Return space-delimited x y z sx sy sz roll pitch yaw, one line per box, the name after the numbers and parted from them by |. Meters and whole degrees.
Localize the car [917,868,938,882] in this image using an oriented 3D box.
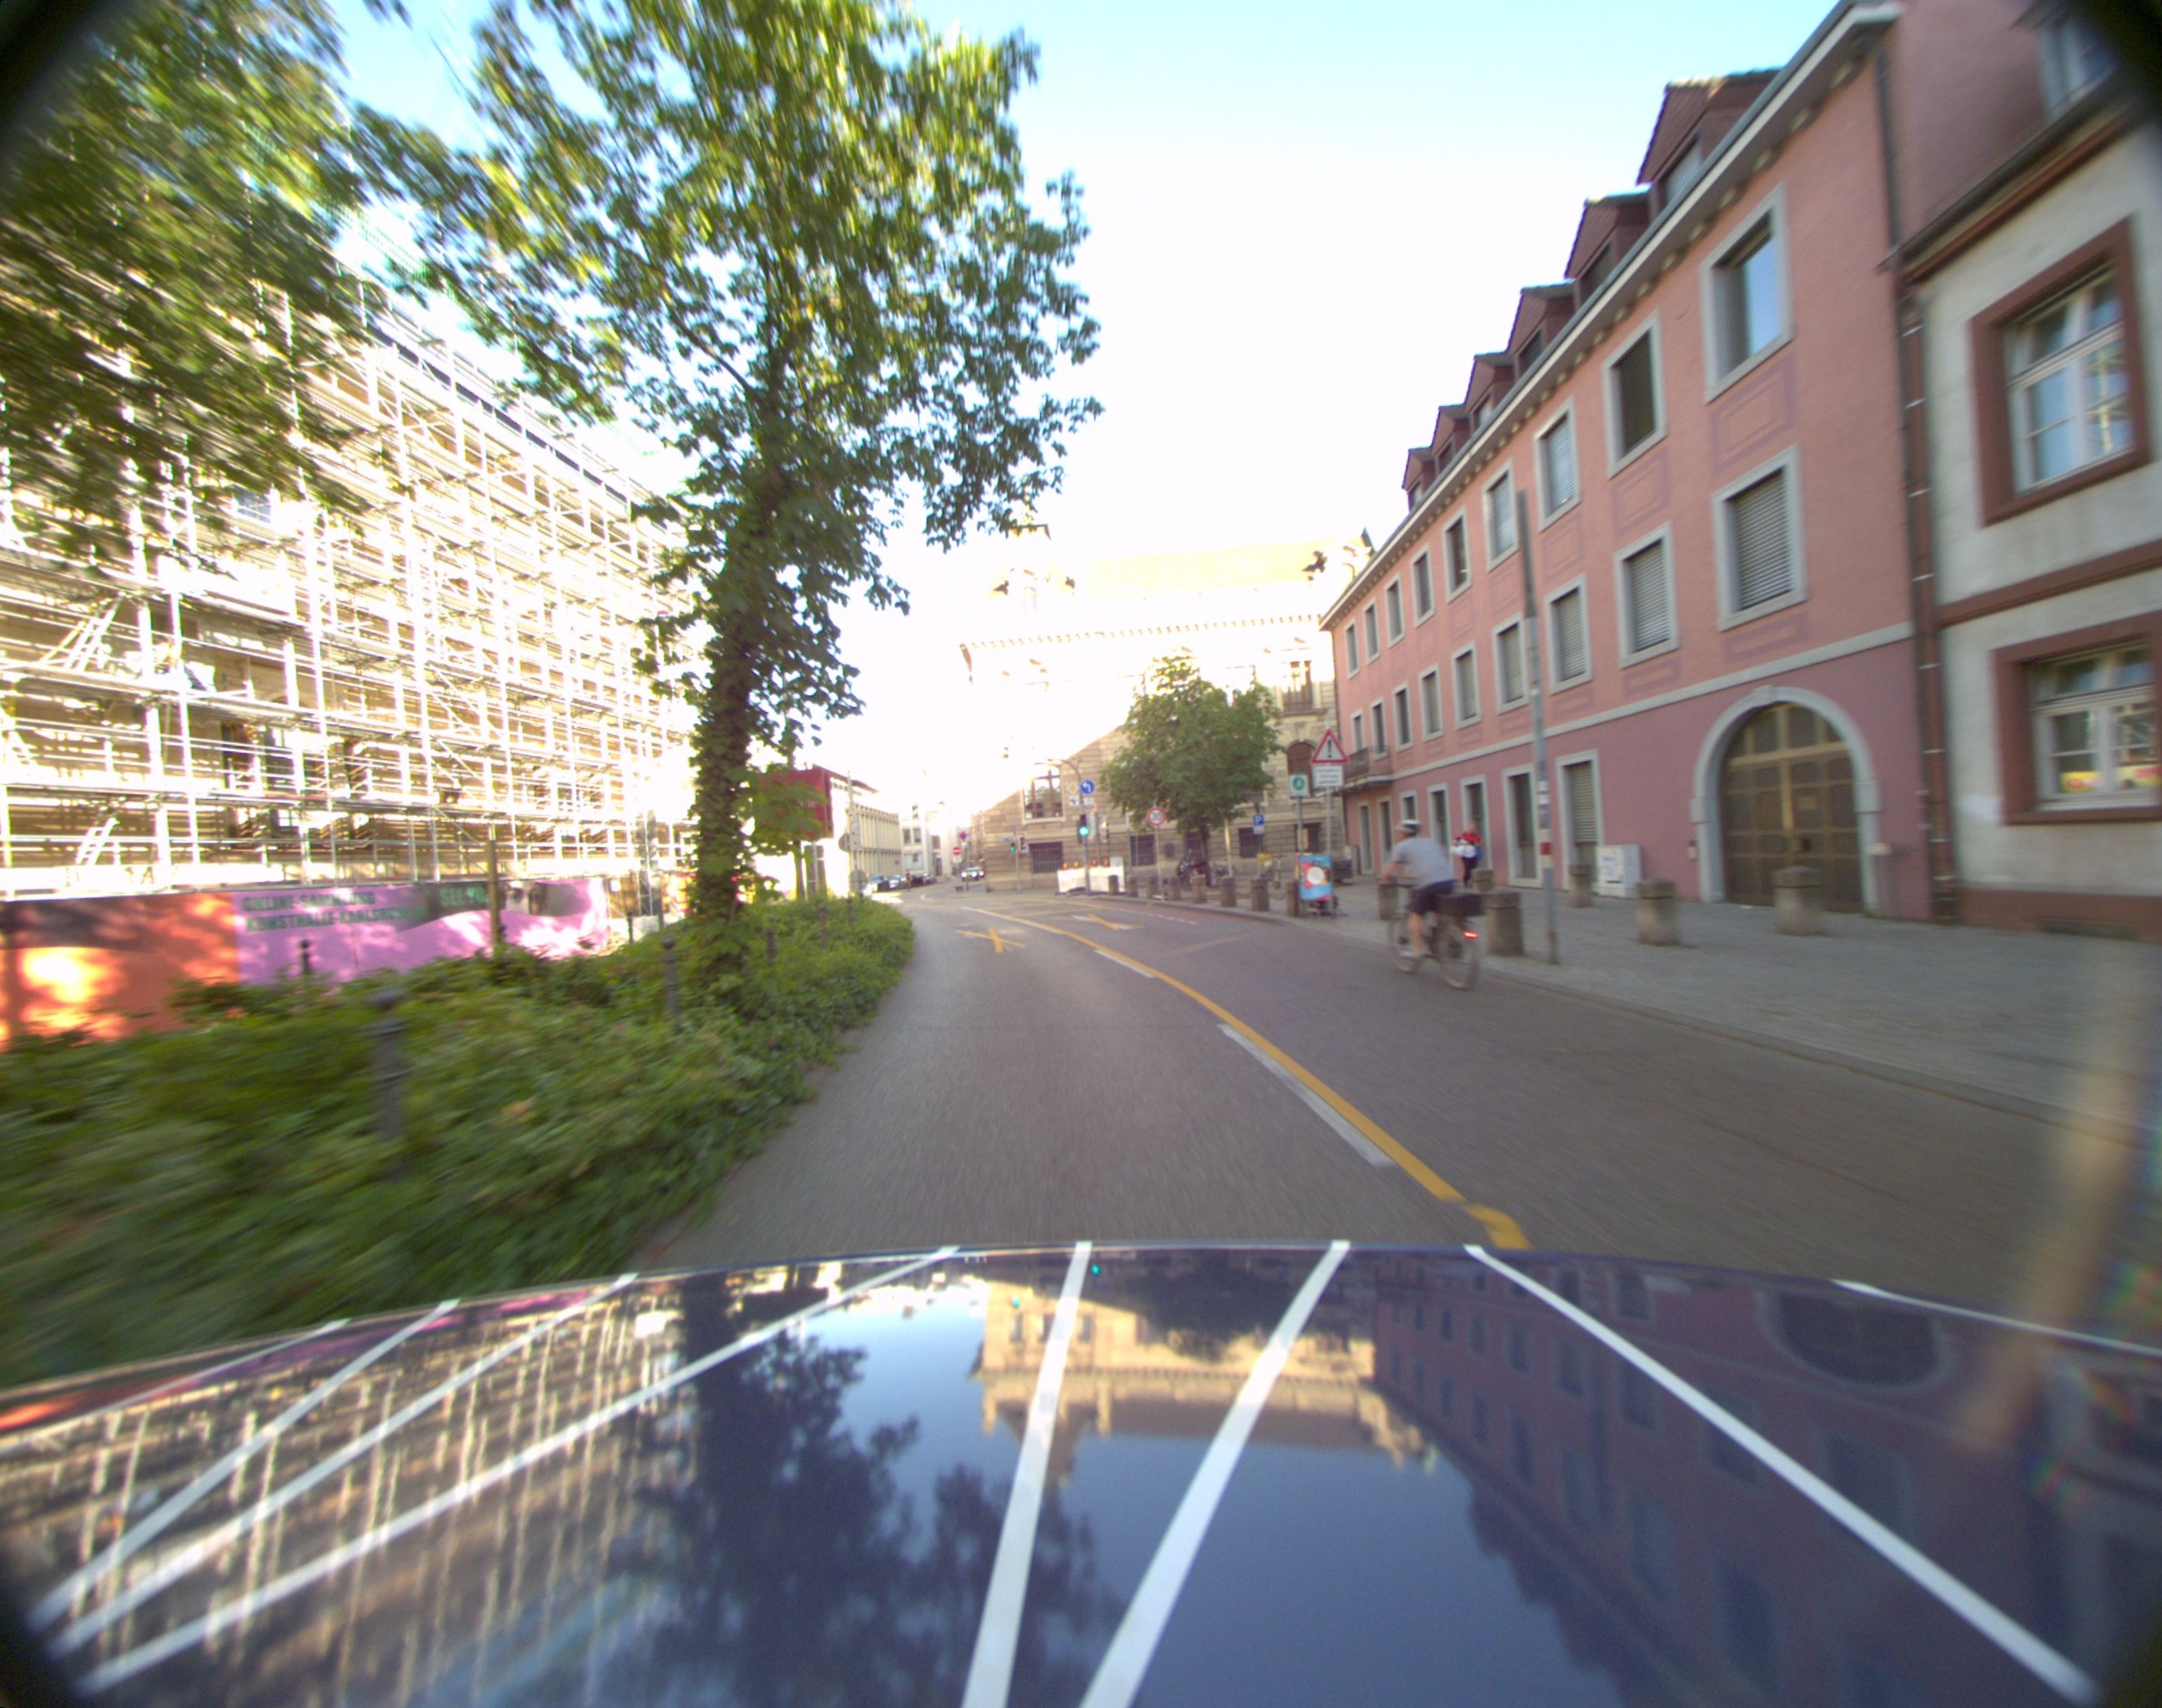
-17.715 2.412 88.113 1.698 1.483 4.253 -5 0 -4 | car

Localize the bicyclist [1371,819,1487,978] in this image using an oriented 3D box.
3.718 0.454 8.185 0.746 1.574 0.795 -5 0 -2 | bicyclist

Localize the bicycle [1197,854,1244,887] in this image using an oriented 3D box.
5.446 0.631 29.536 2.009 1.199 0.681 -3 1 -43 | bicycle

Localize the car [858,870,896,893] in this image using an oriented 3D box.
-17.066 2.279 63.867 1.899 1.614 4.620 -5 0 -2 | car

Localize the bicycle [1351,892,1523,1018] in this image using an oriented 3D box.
3.770 1.015 8.286 0.773 1.056 2.077 -4 0 -2 | bicycle

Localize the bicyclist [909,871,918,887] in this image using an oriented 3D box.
-13.599 2.016 61.668 0.538 1.281 0.551 -5 1 -5 | bicyclist

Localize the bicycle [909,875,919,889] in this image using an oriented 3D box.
-13.572 2.291 61.708 0.535 1.060 1.425 -5 0 -4 | bicycle

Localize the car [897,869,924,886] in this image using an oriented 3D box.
-17.140 2.372 76.732 1.701 1.462 4.790 -5 0 -2 | car

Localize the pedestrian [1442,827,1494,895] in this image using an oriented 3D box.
10.129 0.169 19.910 0.793 1.679 0.869 -5 1 3 | pedestrian

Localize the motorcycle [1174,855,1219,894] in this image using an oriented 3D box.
4.145 0.731 27.451 0.814 1.309 2.335 -4 0 -10 | motorcycle

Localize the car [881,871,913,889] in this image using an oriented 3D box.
-17.111 2.405 71.016 1.701 1.336 4.598 -5 0 1 | car

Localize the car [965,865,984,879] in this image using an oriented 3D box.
-12.843 2.131 91.956 1.854 1.483 4.253 -5 0 -4 | car
